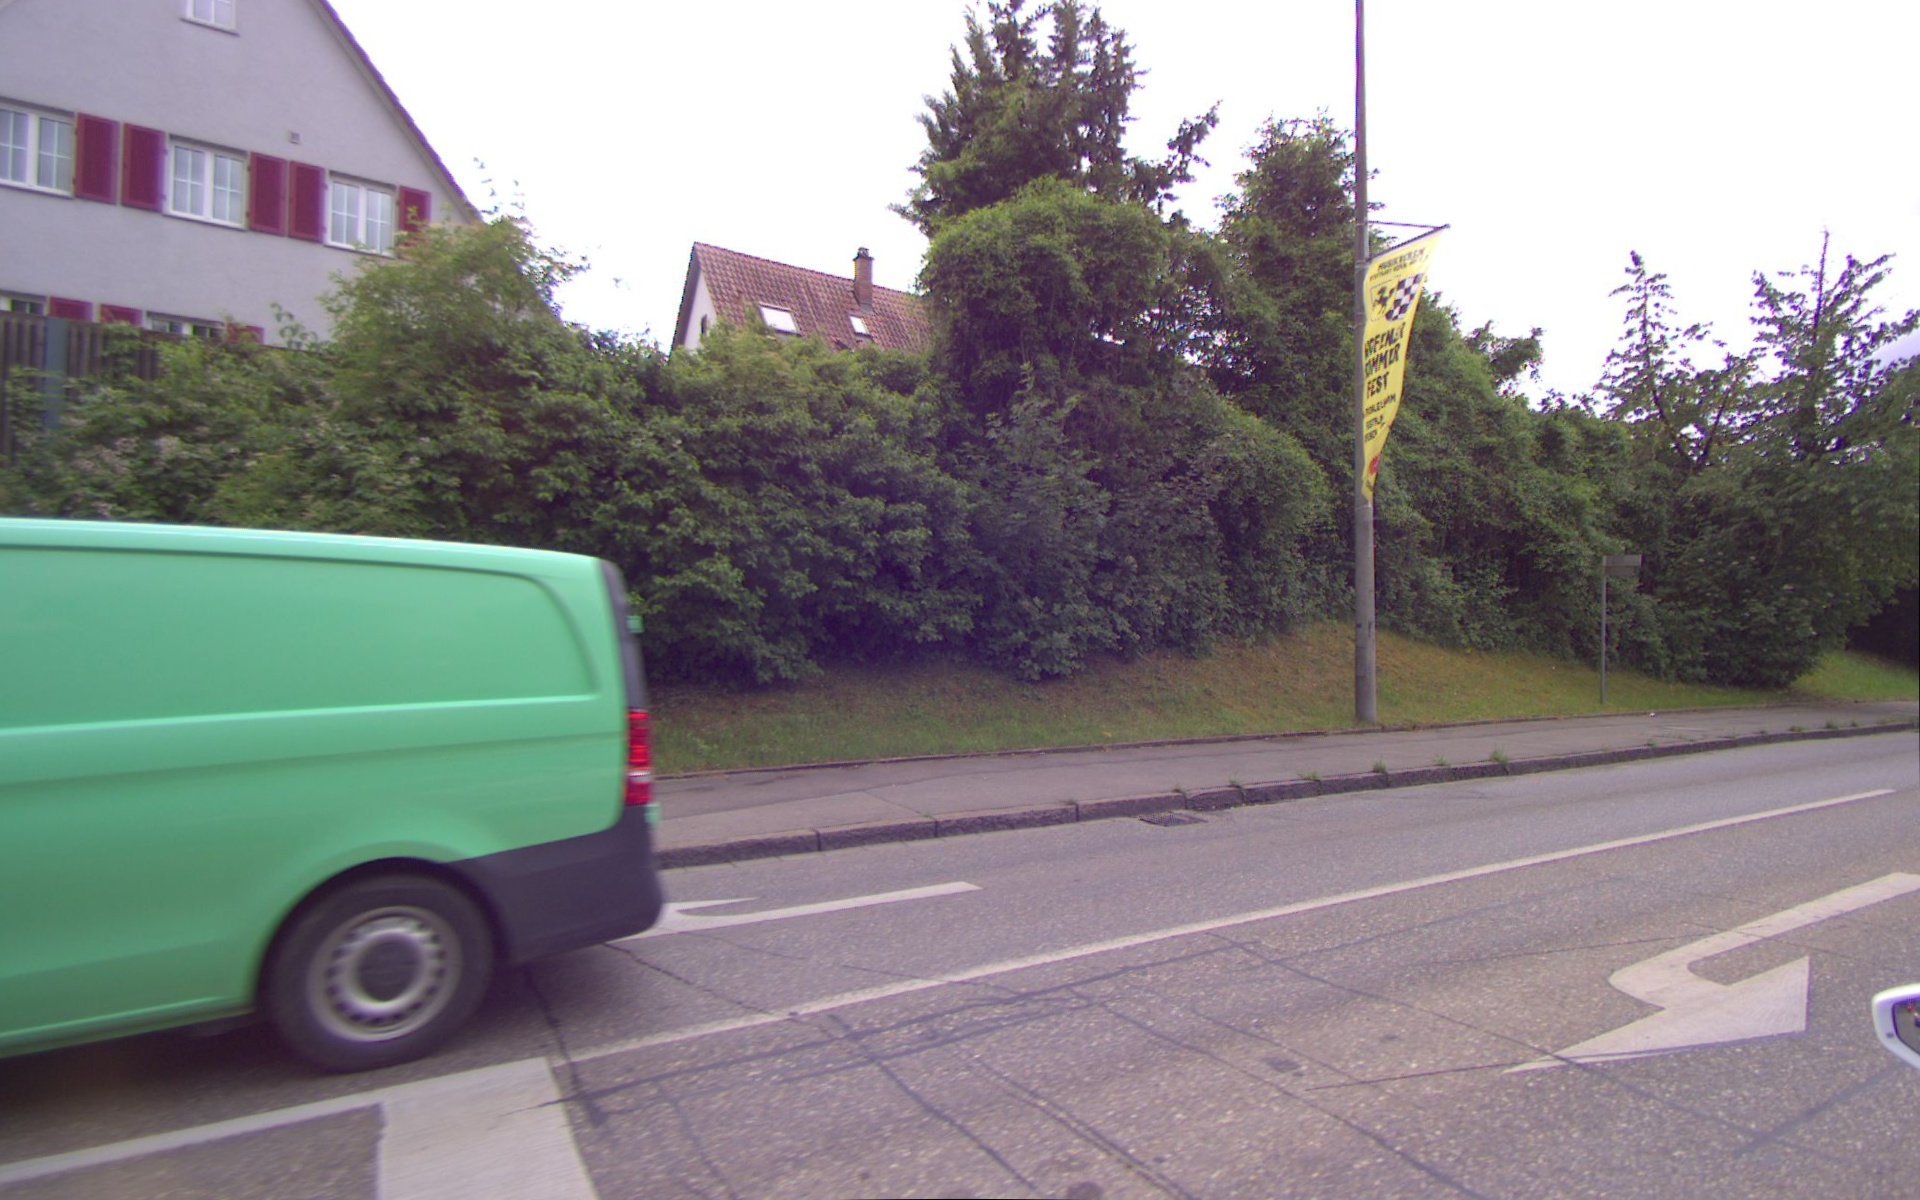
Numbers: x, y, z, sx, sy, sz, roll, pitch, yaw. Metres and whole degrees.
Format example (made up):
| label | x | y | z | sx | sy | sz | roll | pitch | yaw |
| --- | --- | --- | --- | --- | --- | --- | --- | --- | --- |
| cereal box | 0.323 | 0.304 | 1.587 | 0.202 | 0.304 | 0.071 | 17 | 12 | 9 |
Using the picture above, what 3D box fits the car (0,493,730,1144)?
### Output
| label | x | y | z | sx | sy | sz | roll | pitch | yaw |
| --- | --- | --- | --- | --- | --- | --- | --- | --- | --- |
| car | -3.422 | 0.661 | 3.616 | 4.676 | 1.834 | 2.048 | 1 | -3 | -32 |
